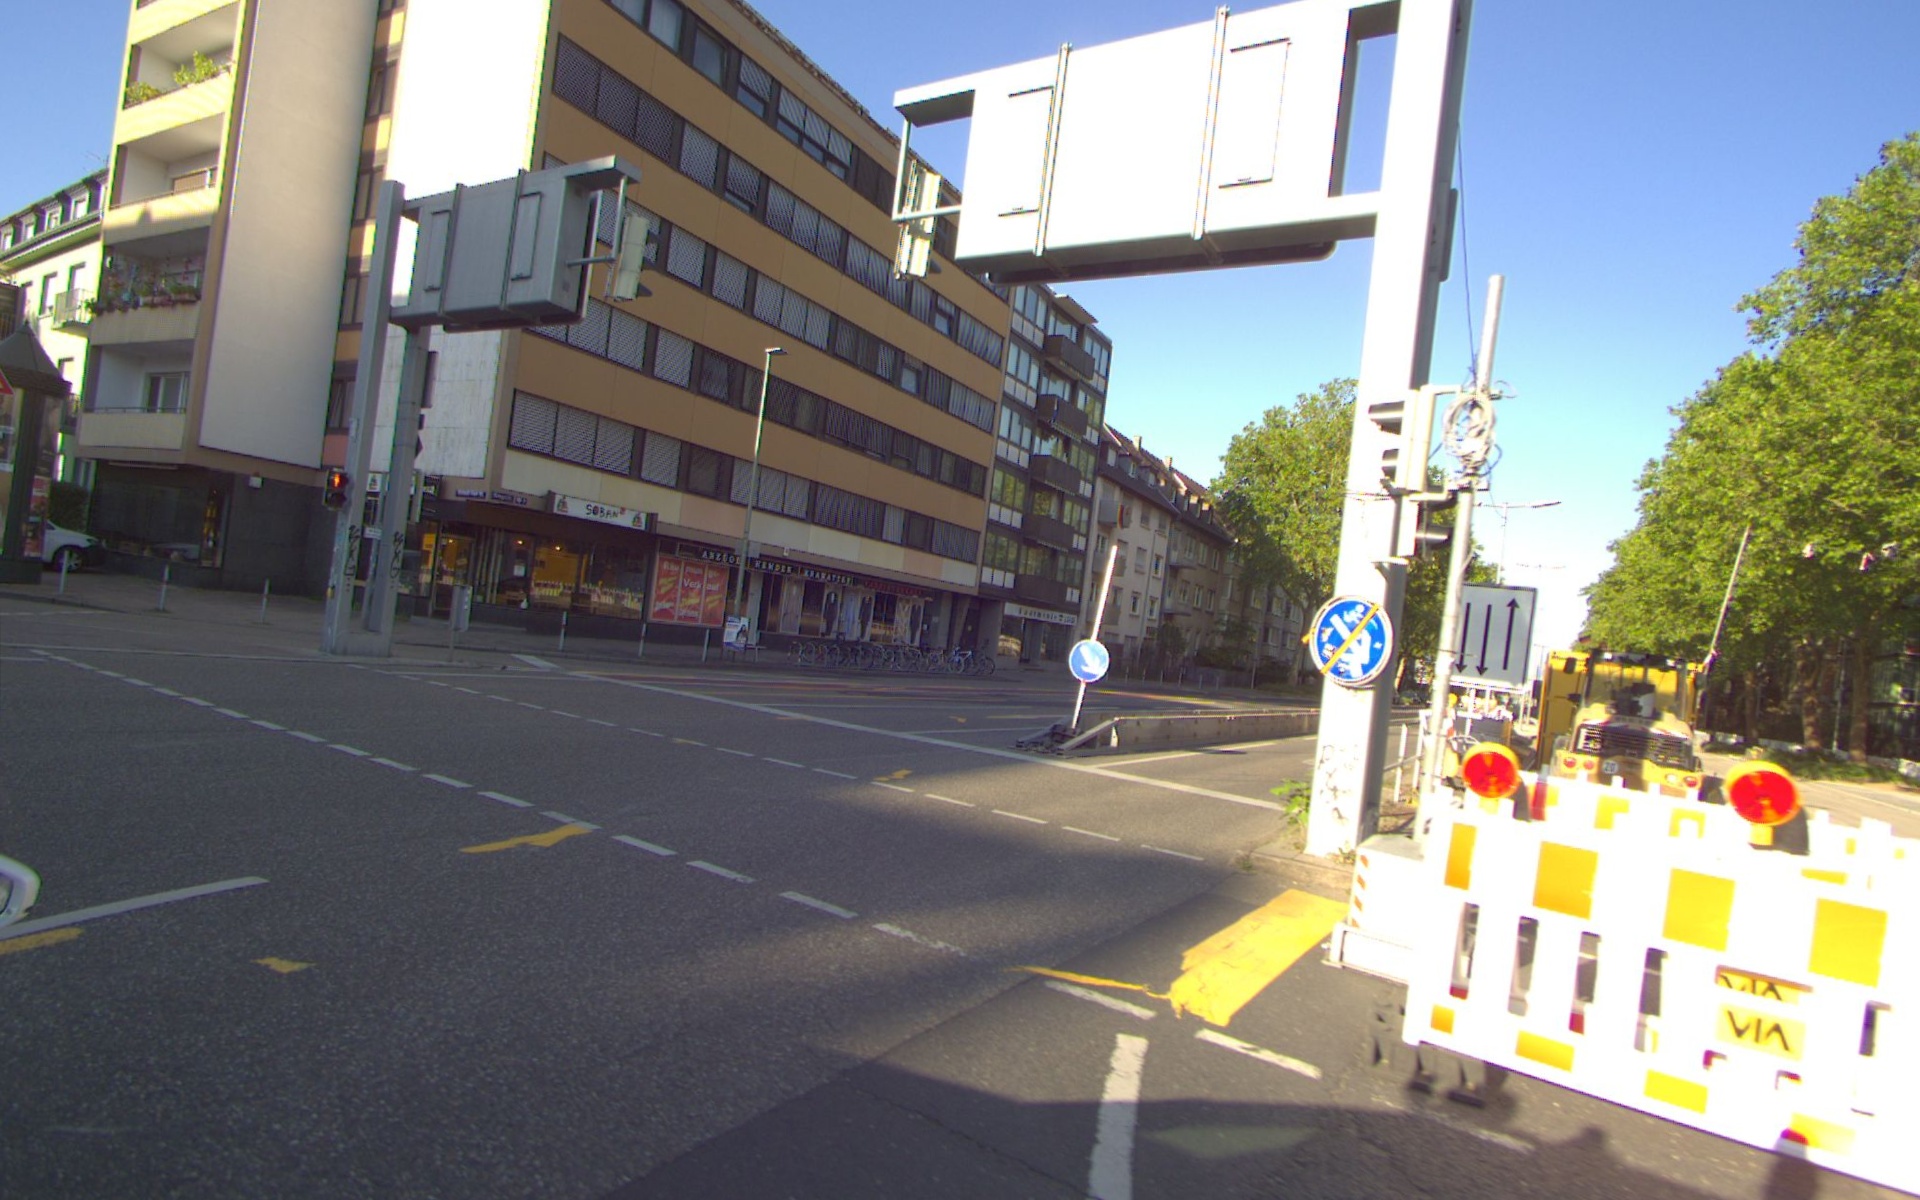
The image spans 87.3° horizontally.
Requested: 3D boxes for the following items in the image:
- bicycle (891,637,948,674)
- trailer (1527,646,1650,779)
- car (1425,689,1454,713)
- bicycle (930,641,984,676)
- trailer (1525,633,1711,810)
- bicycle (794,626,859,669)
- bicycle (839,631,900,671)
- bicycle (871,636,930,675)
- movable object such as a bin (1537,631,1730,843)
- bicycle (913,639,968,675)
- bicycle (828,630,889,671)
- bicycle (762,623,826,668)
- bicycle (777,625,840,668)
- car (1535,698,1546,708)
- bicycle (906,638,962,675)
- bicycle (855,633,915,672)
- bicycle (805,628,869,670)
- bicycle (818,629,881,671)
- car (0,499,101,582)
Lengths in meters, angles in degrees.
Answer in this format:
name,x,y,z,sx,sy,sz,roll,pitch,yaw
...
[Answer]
name,x,y,z,sx,sy,sz,roll,pitch,yaw
bicycle,-1.510,2.039,37.098,1.972,1.109,0.528,7,0,26
trailer,17.594,3.112,28.265,2.367,3.051,6.120,7,-1,32
car,40.343,8.454,84.596,1.741,1.726,3.995,7,-2,30
bicycle,-0.116,2.294,39.532,1.972,1.109,0.528,7,0,26
trailer,13.703,2.473,21.408,2.498,2.901,6.125,7,-1,29
bicycle,-4.290,1.530,32.215,1.972,1.109,0.528,7,0,26
bicycle,-3.103,1.751,34.419,1.972,1.109,0.527,7,0,28
bicycle,-2.109,1.978,35.807,1.972,1.109,0.528,7,0,26
movable object such as a bin,10.688,2.093,16.131,1.968,2.624,5.205,7,-1,33
bicycle,-0.742,2.184,38.577,1.972,1.109,0.528,7,0,26
bicycle,-3.413,1.694,33.885,1.972,1.109,0.527,7,0,28
bicycle,-5.098,1.384,30.865,1.975,1.109,0.527,7,-1,33
bicycle,-4.737,1.449,31.459,1.975,1.109,0.527,7,-1,33
car,116.576,20.640,201.993,1.741,1.726,3.995,7,-2,30
bicycle,-0.995,2.132,37.951,1.972,1.109,0.528,7,0,26
bicycle,-2.632,1.838,35.293,1.972,1.109,0.528,7,0,26
bicycle,-4.007,1.583,32.763,1.972,1.109,0.528,7,0,26
bicycle,-3.667,1.643,33.268,1.972,1.109,0.528,7,0,26
car,-24.240,-1.648,24.873,1.831,1.835,4.094,7,-2,32
